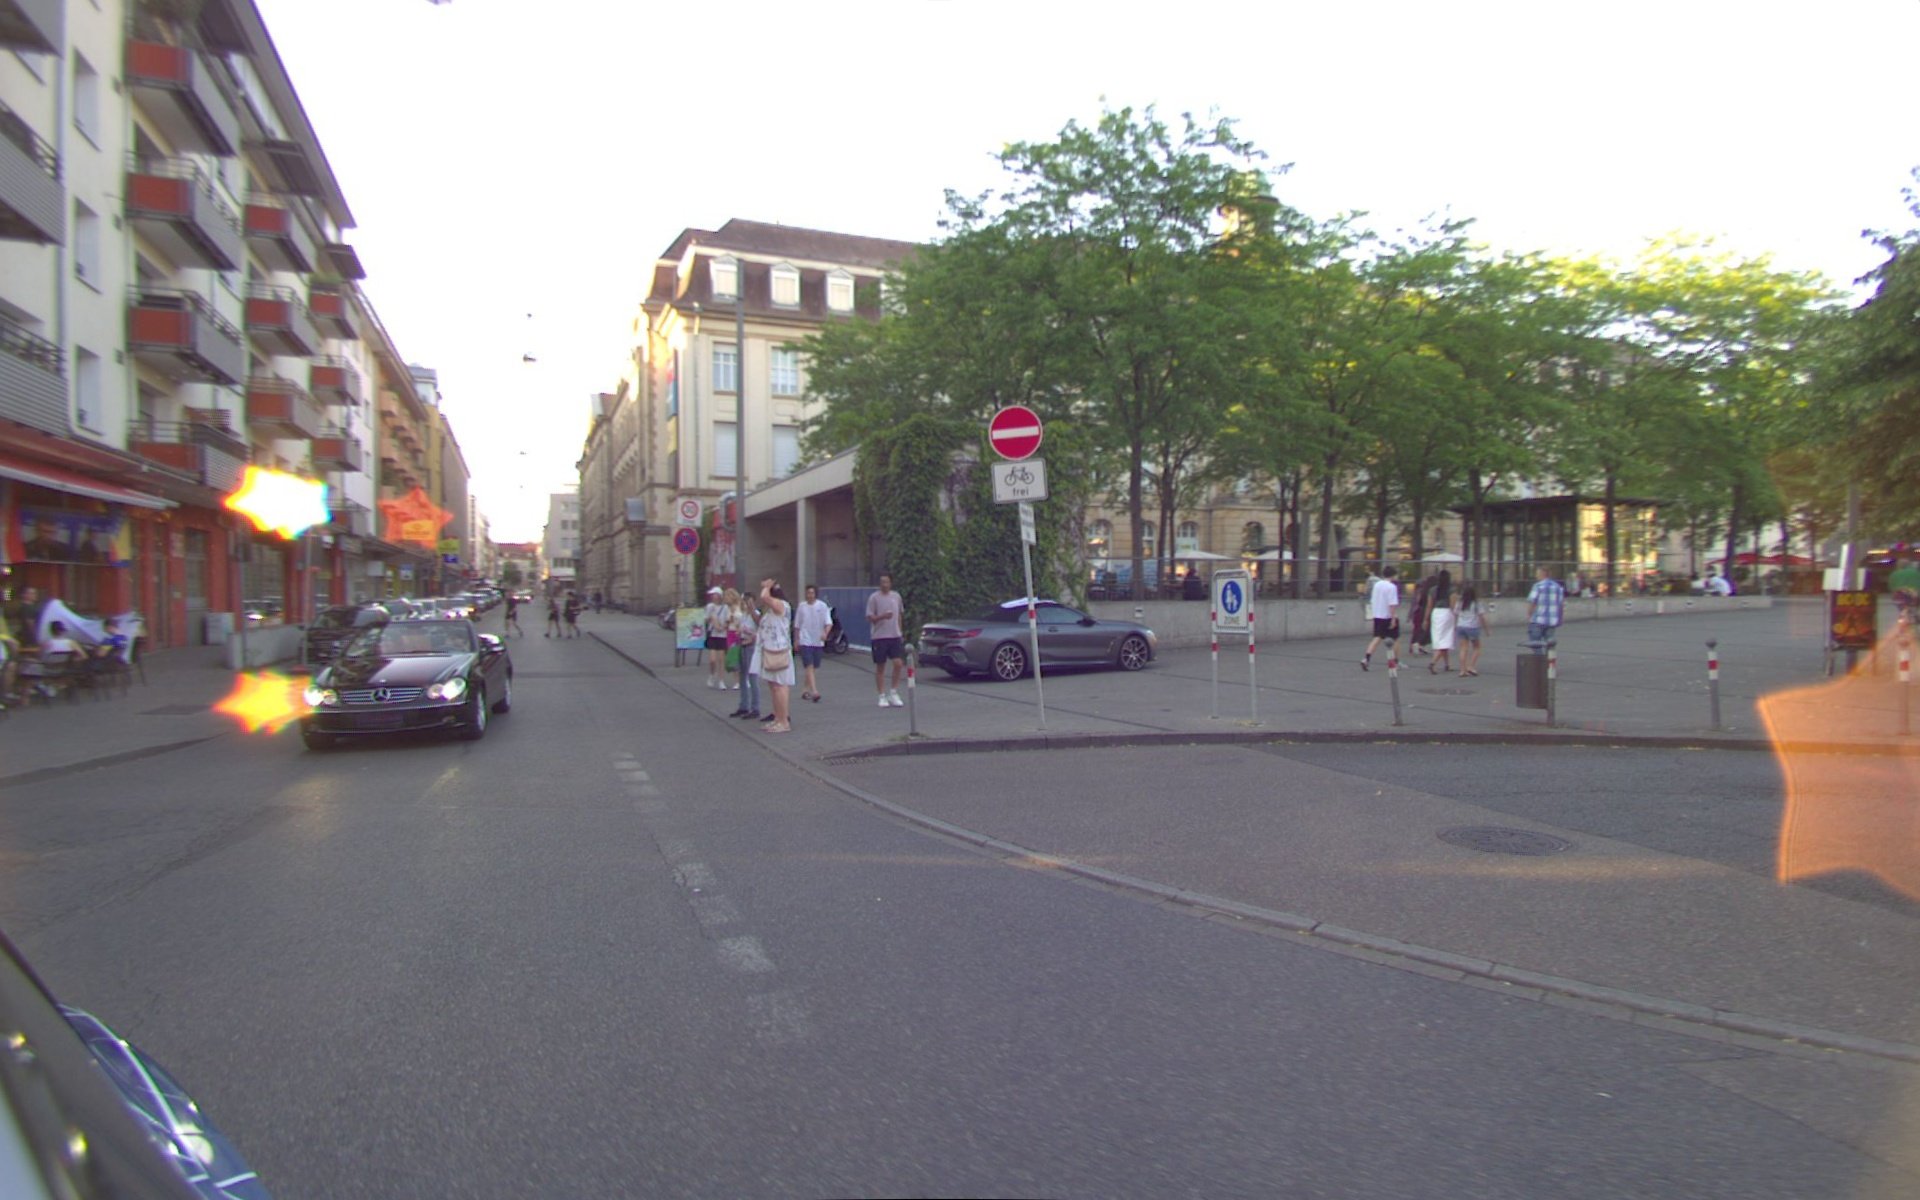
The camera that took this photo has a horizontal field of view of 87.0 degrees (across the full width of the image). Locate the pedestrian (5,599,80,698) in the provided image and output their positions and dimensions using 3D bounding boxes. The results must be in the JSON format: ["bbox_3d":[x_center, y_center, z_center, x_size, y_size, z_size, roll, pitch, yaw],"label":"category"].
[{"bbox_3d":[-15.123,0.778,16.686,0.715,1.547,0.841,-1,1,44],"label":"pedestrian"}]

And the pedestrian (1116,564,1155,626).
[{"bbox_3d":[5.830,-0.166,33.683,0.819,2.029,1.069,-1,1,-21],"label":"pedestrian"}]

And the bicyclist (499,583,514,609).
[{"bbox_3d":[-36.221,-0.330,80.784,1.028,2.029,1.186,-1,1,-22],"label":"bicyclist"}]

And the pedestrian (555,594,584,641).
[{"bbox_3d":[-14.864,0.643,38.540,0.820,1.739,0.923,-1,0,-10],"label":"pedestrian"}]

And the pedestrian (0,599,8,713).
[{"bbox_3d":[-13.365,0.777,13.453,0.838,1.547,0.682,-2,1,-27],"label":"pedestrian"}]

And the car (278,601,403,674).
[{"bbox_3d":[-15.257,0.852,25.172,1.847,1.563,4.646,-2,1,-22],"label":"car"}]

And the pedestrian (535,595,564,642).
[{"bbox_3d":[-15.752,0.696,38.838,0.905,1.739,0.705,-1,0,-28],"label":"pedestrian"}]

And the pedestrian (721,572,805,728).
[{"bbox_3d":[-2.502,0.605,12.847,0.703,1.891,0.854,-2,1,-35],"label":"pedestrian"}]

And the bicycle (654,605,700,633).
[{"bbox_3d":[-11.806,0.803,42.205,1.814,1.091,0.355,-2,1,-18],"label":"bicycle"}]

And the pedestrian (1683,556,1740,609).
[{"bbox_3d":[23.984,-0.559,32.304,0.696,1.660,1.272,-1,0,-27],"label":"pedestrian"}]

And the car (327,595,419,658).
[{"bbox_3d":[-17.632,0.746,30.575,1.852,1.712,4.151,-2,1,-23],"label":"car"}]

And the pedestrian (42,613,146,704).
[{"bbox_3d":[-13.194,0.874,15.438,0.865,1.315,0.854,1,0,-4],"label":"pedestrian"}]

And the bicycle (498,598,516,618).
[{"bbox_3d":[-36.227,0.600,80.975,1.021,1.533,2.831,-1,1,-19],"label":"bicycle"}]

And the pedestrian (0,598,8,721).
[{"bbox_3d":[-12.186,0.728,12.259,0.702,1.547,0.762,3,-2,-27],"label":"pedestrian"}]

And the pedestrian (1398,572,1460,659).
[{"bbox_3d":[8.985,0.287,19.409,0.719,1.594,0.800,-3,1,-39],"label":"pedestrian"}]

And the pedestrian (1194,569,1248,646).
[{"bbox_3d":[6.359,0.169,24.716,0.691,1.833,1.126,-1,0,-25],"label":"pedestrian"}]

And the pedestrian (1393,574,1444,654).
[{"bbox_3d":[9.113,0.275,20.124,0.583,1.554,0.682,-2,1,-32],"label":"pedestrian"}]

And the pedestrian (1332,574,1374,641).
[{"bbox_3d":[10.348,0.186,26.662,0.612,1.739,0.806,-1,0,-25],"label":"pedestrian"}]

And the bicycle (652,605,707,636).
[{"bbox_3d":[-11.599,0.849,41.892,2.145,1.164,0.447,-2,1,-18],"label":"bicycle"}]

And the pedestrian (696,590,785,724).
[{"bbox_3d":[-2.877,0.714,13.302,0.877,1.681,0.709,0,2,24],"label":"pedestrian"}]

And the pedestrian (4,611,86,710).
[{"bbox_3d":[-13.020,0.844,14.419,0.644,1.355,0.752,2,-1,-26],"label":"pedestrian"}]

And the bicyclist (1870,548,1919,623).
[{"bbox_3d":[19.915,-0.303,20.975,0.740,1.521,1.386,-1,0,-25],"label":"bicyclist"}]

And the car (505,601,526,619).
[{"bbox_3d":[-54.520,1.212,124.215,1.965,2.029,4.013,-1,1,-19],"label":"car"}]

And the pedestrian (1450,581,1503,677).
[{"bbox_3d":[8.289,0.454,16.237,0.603,1.497,0.707,-2,1,37],"label":"pedestrian"}]

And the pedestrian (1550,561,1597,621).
[{"bbox_3d":[18.093,-0.258,29.848,0.691,1.739,0.924,-1,0,-25],"label":"pedestrian"}]

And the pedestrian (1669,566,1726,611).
[{"bbox_3d":[23.314,-0.371,32.008,0.725,1.390,1.271,-1,0,-28],"label":"pedestrian"}]

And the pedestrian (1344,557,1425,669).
[{"bbox_3d":[7.359,0.211,17.564,0.877,1.867,0.986,-2,1,-43],"label":"pedestrian"}]

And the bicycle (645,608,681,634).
[{"bbox_3d":[-13.284,0.928,45.227,1.476,1.084,0.313,-2,1,-32],"label":"bicycle"}]

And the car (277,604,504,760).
[{"bbox_3d":[-6.601,0.801,12.230,1.779,1.418,4.632,0,1,-22],"label":"car"}]

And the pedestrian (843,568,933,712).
[{"bbox_3d":[-1.009,0.532,14.094,0.968,1.897,0.893,-2,1,-22],"label":"pedestrian"}]

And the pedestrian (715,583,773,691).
[{"bbox_3d":[-3.747,0.620,17.540,0.798,1.807,0.739,-2,1,-22],"label":"pedestrian"}]

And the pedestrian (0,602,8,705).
[{"bbox_3d":[-13.735,0.747,14.008,0.656,1.445,0.563,1,-1,-26],"label":"pedestrian"}]

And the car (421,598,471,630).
[{"bbox_3d":[-26.793,0.700,52.888,1.866,1.488,4.315,-2,1,-22],"label":"car"}]

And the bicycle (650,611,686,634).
[{"bbox_3d":[-12.800,0.974,44.370,1.476,0.963,0.313,-2,1,-32],"label":"bicycle"}]

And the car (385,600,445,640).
[{"bbox_3d":[-22.342,0.794,41.591,1.738,1.488,3.960,-2,1,-23],"label":"car"}]

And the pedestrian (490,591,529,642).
[{"bbox_3d":[-16.985,0.616,38.154,0.945,1.840,0.994,-1,1,40],"label":"pedestrian"}]

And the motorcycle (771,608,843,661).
[{"bbox_3d":[-3.575,0.791,23.783,0.536,1.135,1.807,-2,1,35],"label":"motorcycle"}]

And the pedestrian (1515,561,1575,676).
[{"bbox_3d":[9.281,0.281,16.056,0.715,1.759,0.679,-2,1,37],"label":"pedestrian"}]

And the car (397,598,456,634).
[{"bbox_3d":[-24.012,0.696,45.701,1.836,1.488,4.409,-2,1,-22],"label":"car"}]

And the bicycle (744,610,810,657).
[{"bbox_3d":[-4.549,0.819,25.167,1.472,1.096,0.550,-2,1,-27],"label":"bicycle"}]

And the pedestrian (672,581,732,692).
[{"bbox_3d":[-4.426,0.603,17.348,0.837,1.807,0.872,-2,1,-22],"label":"pedestrian"}]

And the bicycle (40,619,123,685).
[{"bbox_3d":[-16.067,0.923,18.557,0.541,1.095,2.012,-2,1,-24],"label":"bicycle"}]

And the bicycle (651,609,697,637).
[{"bbox_3d":[-12.049,0.969,42.594,1.814,1.091,0.355,-2,1,-18],"label":"bicycle"}]

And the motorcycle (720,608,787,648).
[{"bbox_3d":[-5.988,0.817,29.354,1.806,1.077,0.532,-2,1,5],"label":"motorcycle"}]

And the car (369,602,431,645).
[{"bbox_3d":[-20.211,0.817,36.650,1.723,1.414,3.980,-2,1,-26],"label":"car"}]

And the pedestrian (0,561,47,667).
[{"bbox_3d":[-18.593,0.266,19.853,0.659,2.029,0.816,-1,0,-13],"label":"pedestrian"}]

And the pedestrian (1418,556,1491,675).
[{"bbox_3d":[8.150,0.245,16.699,0.702,1.889,0.783,-2,1,-15],"label":"pedestrian"}]

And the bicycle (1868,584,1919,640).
[{"bbox_3d":[20.068,0.216,20.955,2.288,1.110,0.955,-1,0,-22],"label":"bicycle"}]

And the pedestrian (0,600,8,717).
[{"bbox_3d":[-12.709,0.758,12.867,0.639,1.539,0.702,3,-2,-28],"label":"pedestrian"}]

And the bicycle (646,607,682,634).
[{"bbox_3d":[-13.129,0.902,44.917,1.476,1.149,0.313,-2,1,-32],"label":"bicycle"}]

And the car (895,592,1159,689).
[{"bbox_3d":[1.251,0.658,18.581,4.374,1.441,2.113,-2,1,-30],"label":"car"}]

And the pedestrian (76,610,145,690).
[{"bbox_3d":[-14.521,0.840,17.305,0.715,1.287,0.841,3,2,44],"label":"pedestrian"}]

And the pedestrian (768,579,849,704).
[{"bbox_3d":[-2.312,0.602,15.364,0.968,1.807,0.893,-2,1,-22],"label":"pedestrian"}]

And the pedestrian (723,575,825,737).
[{"bbox_3d":[-2.182,0.636,11.908,0.880,1.816,0.707,-2,1,32],"label":"pedestrian"}]

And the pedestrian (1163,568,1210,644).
[{"bbox_3d":[5.440,0.137,24.342,0.749,1.795,0.800,-1,1,-22],"label":"pedestrian"}]

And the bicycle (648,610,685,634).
[{"bbox_3d":[-12.945,0.977,44.647,1.476,0.986,0.313,-2,1,-32],"label":"bicycle"}]

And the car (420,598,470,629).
[{"bbox_3d":[-29.458,0.751,58.010,1.966,1.628,4.381,-2,1,-19],"label":"car"}]
